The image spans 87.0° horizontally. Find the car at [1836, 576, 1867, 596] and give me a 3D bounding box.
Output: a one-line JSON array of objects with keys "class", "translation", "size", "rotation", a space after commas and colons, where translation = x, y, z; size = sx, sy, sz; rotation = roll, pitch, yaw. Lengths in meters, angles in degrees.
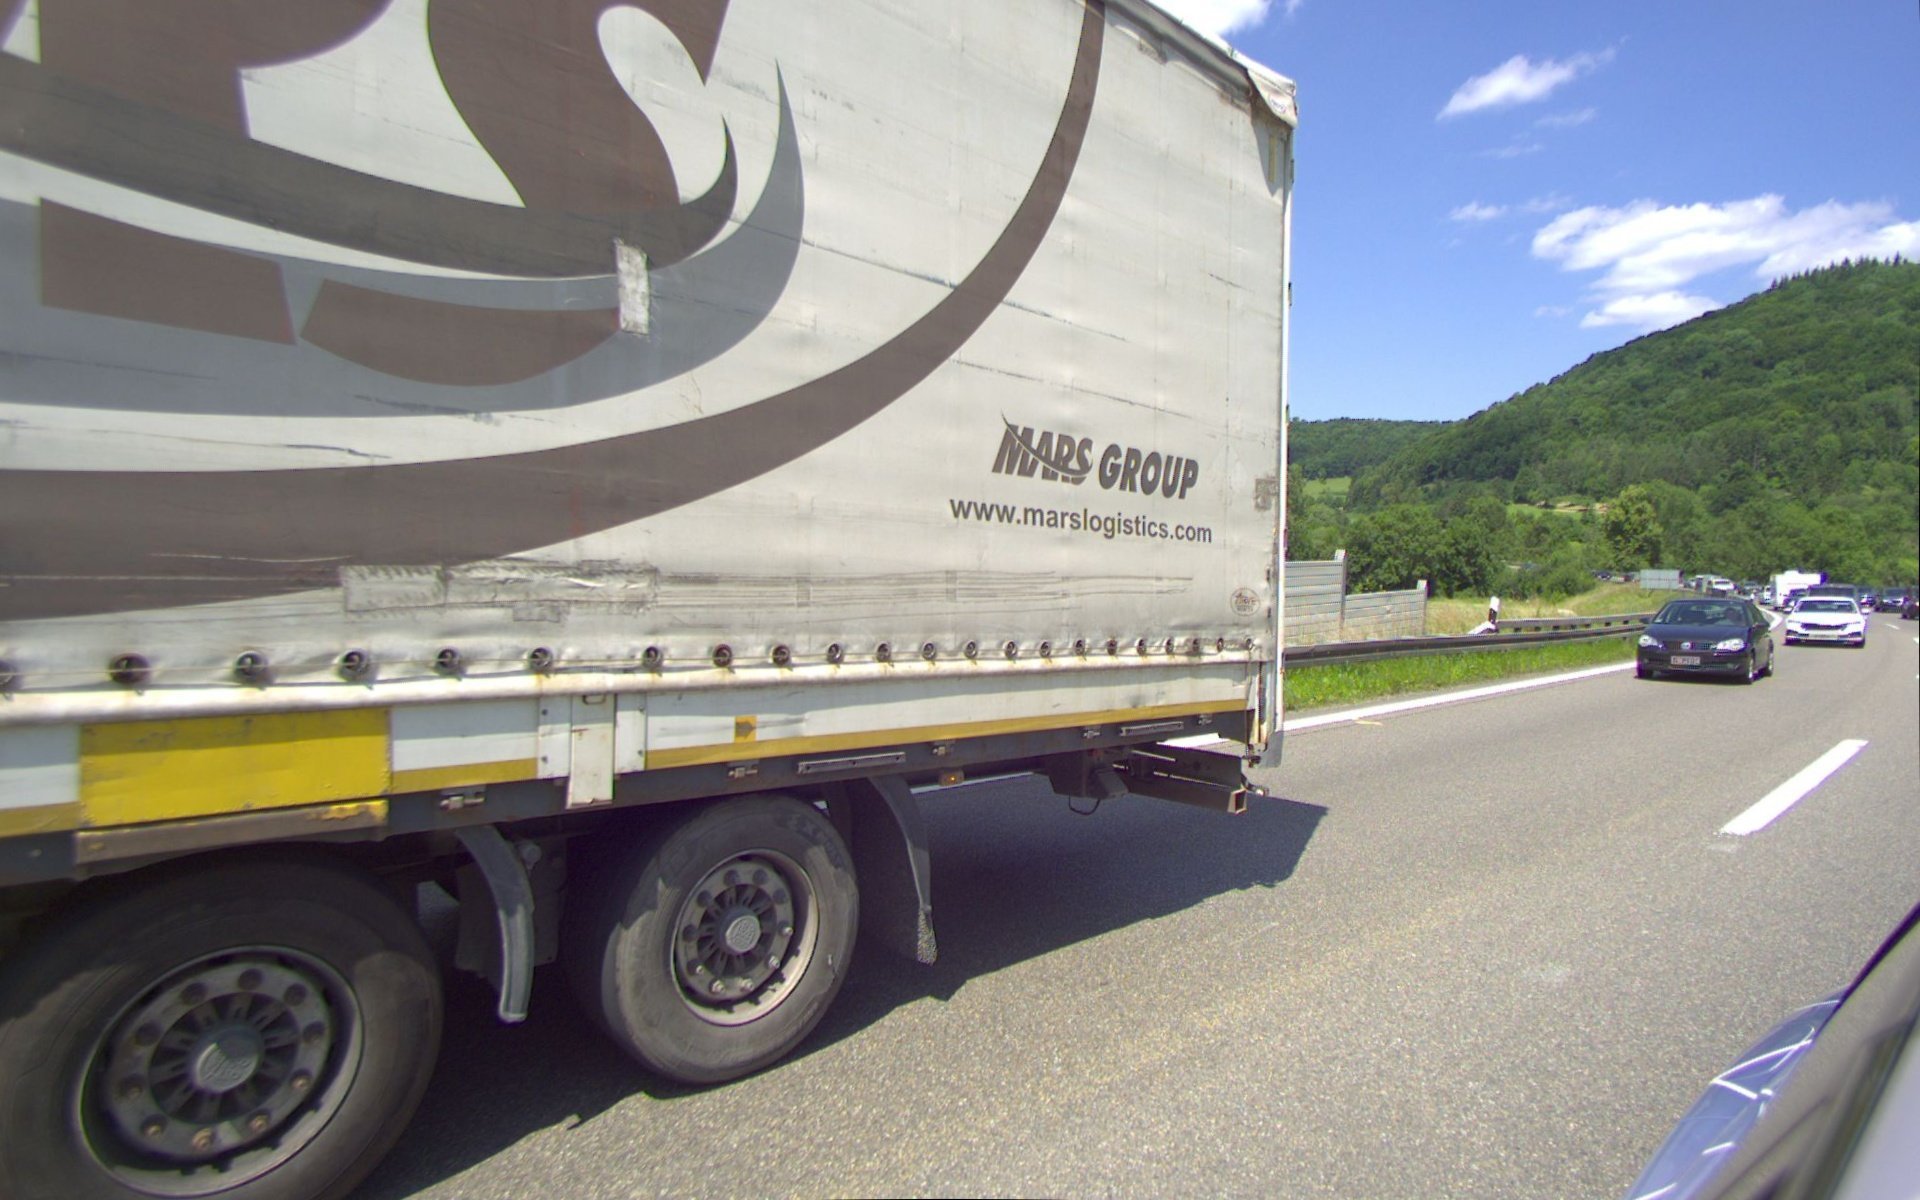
[{"class": "car", "translation": [78.496, -1.214, 89.168], "size": [1.520, 1.658, 3.378], "rotation": [-2, -1, 33]}]

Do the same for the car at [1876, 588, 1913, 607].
[{"class": "car", "translation": [60.483, -0.174, 65.547], "size": [1.484, 1.123, 3.170], "rotation": [0, 1, 38]}]

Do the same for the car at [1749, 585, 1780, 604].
[{"class": "car", "translation": [67.437, -0.454, 84.901], "size": [1.687, 1.552, 3.636], "rotation": [-2, -1, 34]}]

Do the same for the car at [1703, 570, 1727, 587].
[{"class": "car", "translation": [91.638, -2.584, 122.830], "size": [1.985, 2.039, 3.954], "rotation": [0, 1, 33]}]

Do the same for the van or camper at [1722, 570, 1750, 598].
[{"class": "van or camper", "translation": [87.741, -1.831, 114.456], "size": [1.895, 3.065, 4.821], "rotation": [1, 1, 31]}]

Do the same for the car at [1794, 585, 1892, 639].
[{"class": "car", "translation": [26.208, 0.327, 30.007], "size": [3.661, 1.448, 1.904], "rotation": [0, 1, -44]}]

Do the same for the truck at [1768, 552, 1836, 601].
[{"class": "truck", "translation": [57.645, -1.569, 69.437], "size": [2.584, 3.147, 6.779], "rotation": [-2, -1, 32]}]

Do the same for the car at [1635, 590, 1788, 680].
[{"class": "car", "translation": [13.542, 0.538, 18.164], "size": [1.692, 1.440, 3.776], "rotation": [0, 1, 45]}]

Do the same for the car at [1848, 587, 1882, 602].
[{"class": "car", "translation": [68.025, -0.408, 76.124], "size": [1.482, 1.123, 3.174], "rotation": [0, 1, 35]}]

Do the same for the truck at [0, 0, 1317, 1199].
[{"class": "truck", "translation": [-4.194, -0.717, 1.437], "size": [13.505, 4.118, 2.730], "rotation": [-1, 1, -42]}]

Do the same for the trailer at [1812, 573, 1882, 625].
[{"class": "trailer", "translation": [36.572, -0.039, 41.827], "size": [1.991, 1.994, 3.942], "rotation": [3, 2, 40]}]

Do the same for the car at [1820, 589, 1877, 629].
[{"class": "car", "translation": [34.186, 0.311, 38.915], "size": [1.485, 1.400, 3.680], "rotation": [4, 3, 43]}]

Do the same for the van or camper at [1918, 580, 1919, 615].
[{"class": "van or camper", "translation": [52.382, -0.120, 53.804], "size": [1.810, 1.890, 3.562], "rotation": [0, 1, 39]}]
